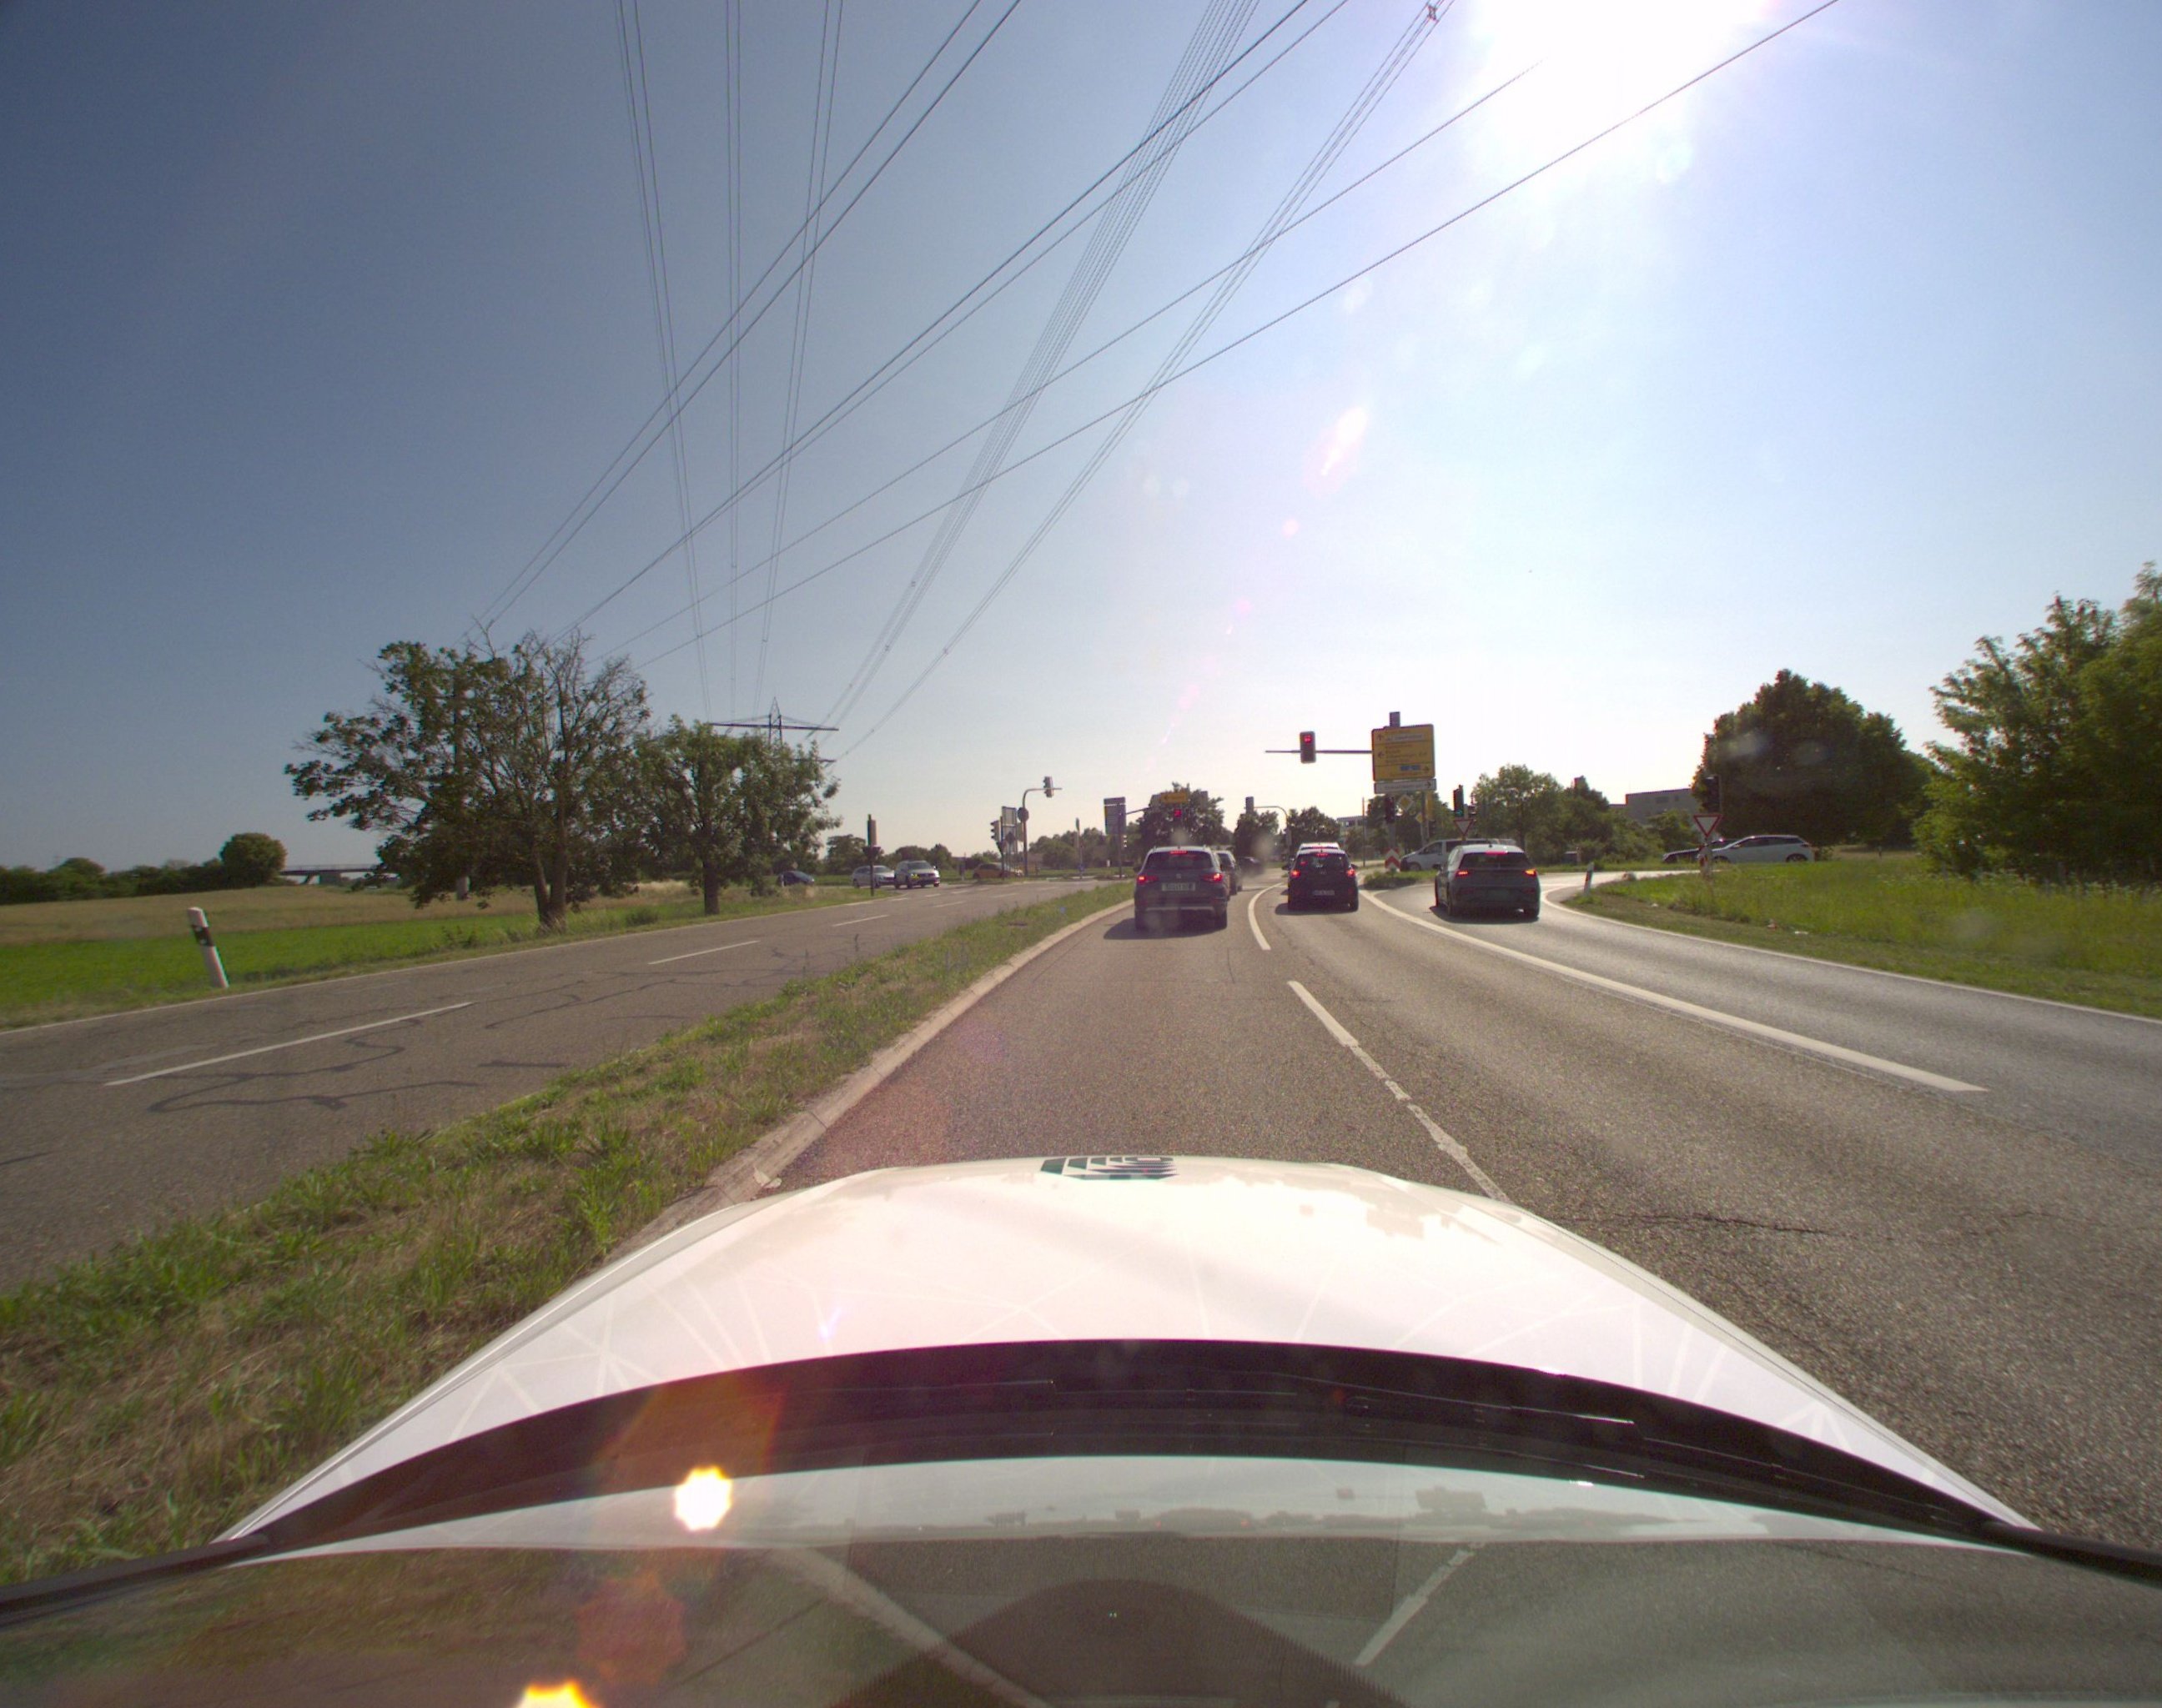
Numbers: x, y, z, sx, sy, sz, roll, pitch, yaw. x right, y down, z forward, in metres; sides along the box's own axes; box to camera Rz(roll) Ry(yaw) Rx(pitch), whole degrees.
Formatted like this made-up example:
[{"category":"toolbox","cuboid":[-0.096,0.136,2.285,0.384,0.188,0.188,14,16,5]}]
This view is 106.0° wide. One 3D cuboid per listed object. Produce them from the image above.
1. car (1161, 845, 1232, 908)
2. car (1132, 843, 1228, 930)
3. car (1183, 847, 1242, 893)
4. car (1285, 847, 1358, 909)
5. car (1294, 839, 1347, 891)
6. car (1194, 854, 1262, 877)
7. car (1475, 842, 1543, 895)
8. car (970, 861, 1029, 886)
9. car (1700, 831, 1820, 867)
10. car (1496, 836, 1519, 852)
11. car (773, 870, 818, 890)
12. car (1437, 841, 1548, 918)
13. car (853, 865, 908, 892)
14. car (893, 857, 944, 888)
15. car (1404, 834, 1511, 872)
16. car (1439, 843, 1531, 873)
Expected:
[{"category":"car","cuboid":[3.172,0.566,22.145,1.732,1.569,3.633,0,0,9]},{"category":"car","cuboid":[2.080,0.600,16.852,1.732,1.569,3.632,-2,0,8]},{"category":"car","cuboid":[4.615,0.517,28.143,1.730,1.484,3.637,0,0,13]},{"category":"car","cuboid":[6.089,0.565,20.767,1.621,1.448,3.308,-1,0,15]},{"category":"car","cuboid":[8.210,0.370,28.132,1.621,1.677,3.764,-1,0,15]},{"category":"car","cuboid":[9.671,0.754,53.783,4.050,1.416,1.728,-2,-1,35]},{"category":"car","cuboid":[12.842,0.391,24.466,1.626,1.385,4.025,-2,0,28]},{"category":"car","cuboid":[-5.850,1.395,58.261,3.948,1.651,1.832,-2,-1,36]},{"category":"car","cuboid":[29.439,-0.189,35.476,3.861,1.465,1.734,-2,0,35]},{"category":"car","cuboid":[57.261,-1.325,109.307,1.911,2.137,4.669,0,0,38]},{"category":"car","cuboid":[-25.423,2.282,72.491,3.948,1.651,1.832,-2,-1,36]},{"category":"car","cuboid":[9.199,0.503,18.504,1.758,1.517,4.120,-1,1,20]},{"category":"car","cuboid":[-13.155,1.577,53.305,1.830,1.651,3.952,-1,-1,-42]},{"category":"car","cuboid":[-9.565,1.074,47.732,1.825,1.651,3.963,-2,-1,-29]},{"category":"car","cuboid":[19.646,-0.051,42.541,4.884,1.918,2.012,-1,0,30]},{"category":"car","cuboid":[22.134,0.224,44.650,4.279,1.519,1.819,-2,-1,34]}]
